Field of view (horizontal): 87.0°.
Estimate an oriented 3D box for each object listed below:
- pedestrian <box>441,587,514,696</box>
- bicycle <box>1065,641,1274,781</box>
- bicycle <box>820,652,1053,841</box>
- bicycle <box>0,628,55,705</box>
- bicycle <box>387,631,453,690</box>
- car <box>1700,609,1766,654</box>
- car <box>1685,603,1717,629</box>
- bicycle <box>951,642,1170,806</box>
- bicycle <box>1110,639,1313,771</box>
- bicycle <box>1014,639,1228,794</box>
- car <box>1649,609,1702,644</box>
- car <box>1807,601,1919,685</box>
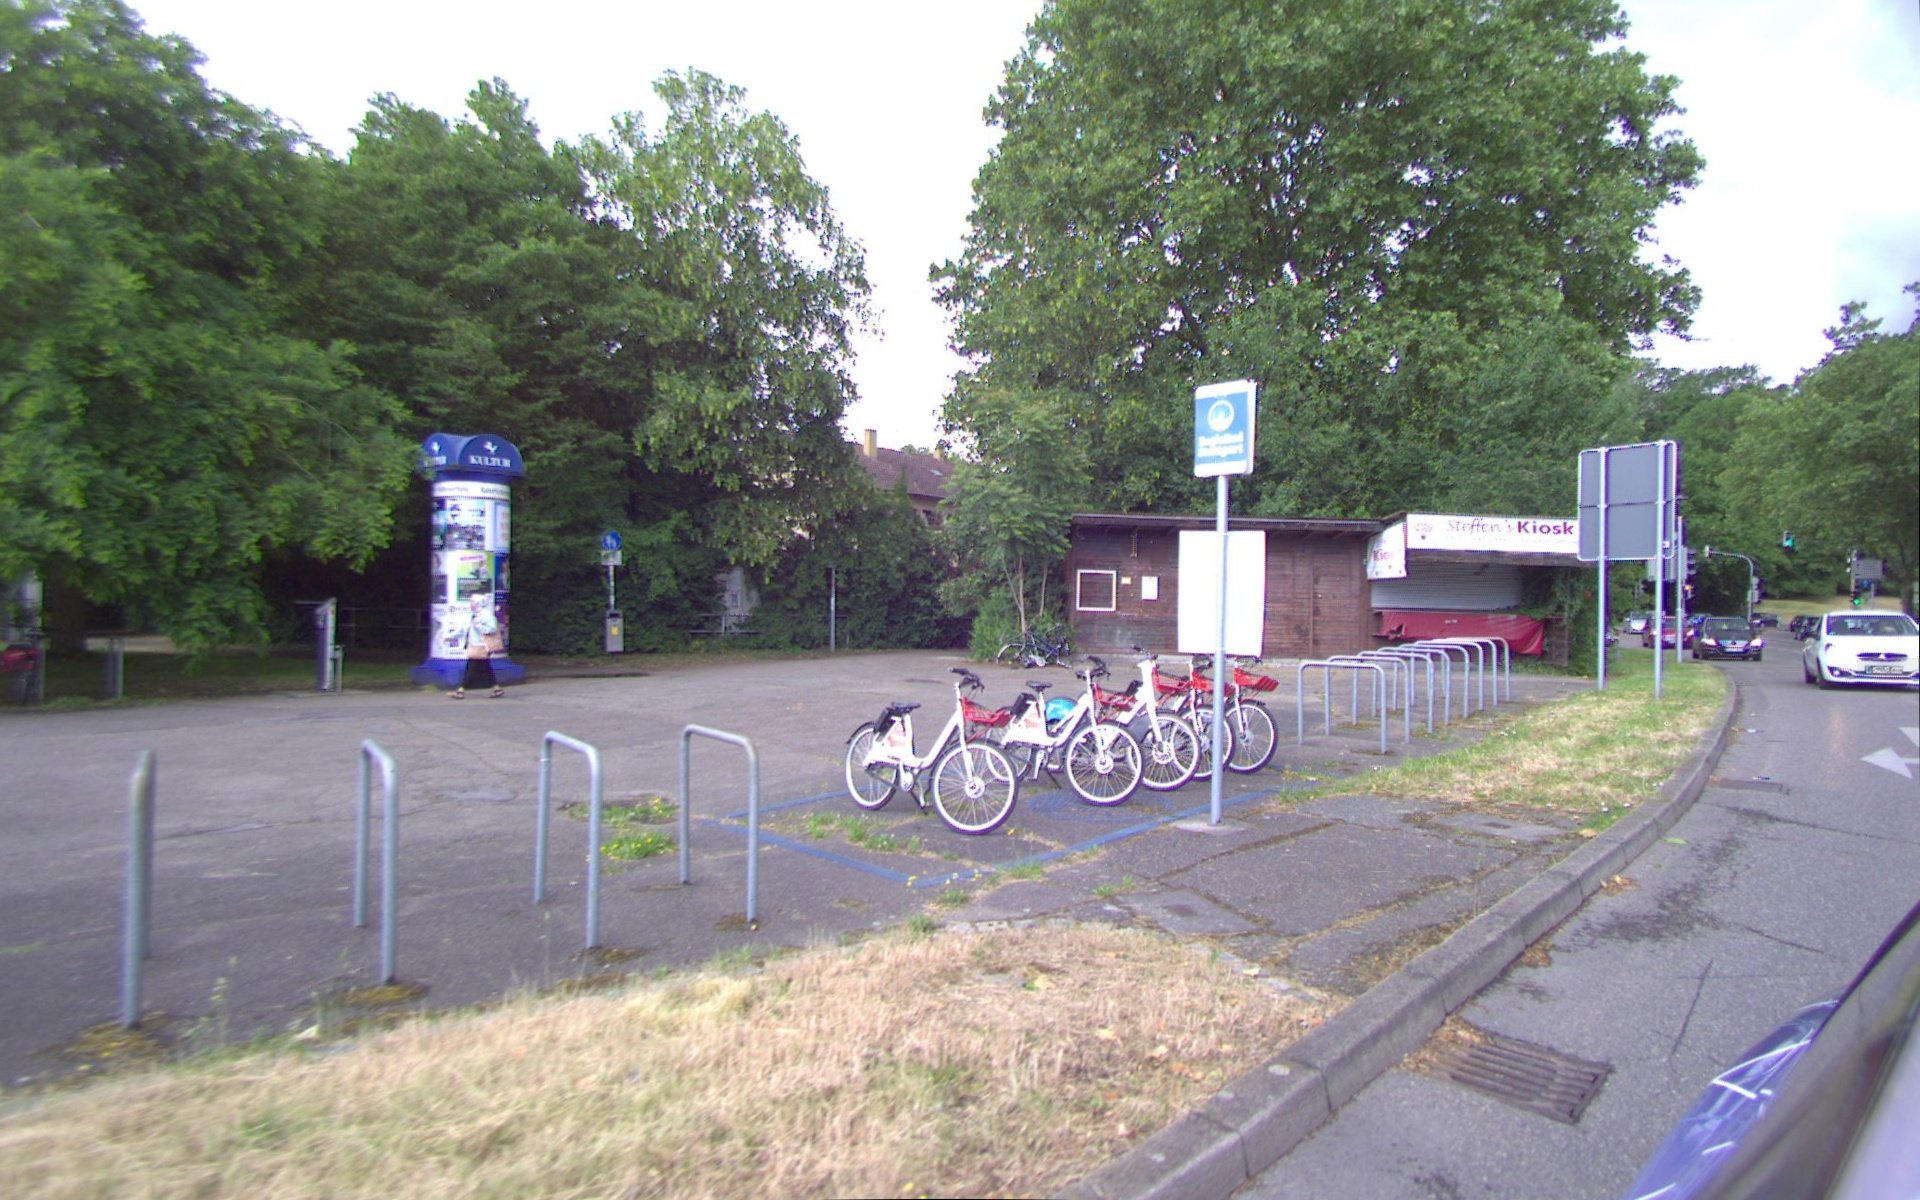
[{"bbox_3d":[-7.064,0.588,14.815,0.668,1.533,0.744,0,-1,40],"label":"pedestrian"},{"bbox_3d":[1.857,0.950,9.220,0.588,1.065,1.880,0,0,-42],"label":"bicycle"},{"bbox_3d":[-0.217,0.998,7.423,1.807,1.130,0.573,0,1,43],"label":"bicycle"},{"bbox_3d":[-11.915,0.816,12.879,0.470,0.867,1.734,3,-1,-45],"label":"bicycle"},{"bbox_3d":[-8.774,0.961,16.417,0.470,0.867,1.653,3,-1,-45],"label":"bicycle"},{"bbox_3d":[28.518,1.133,37.429,1.710,1.551,4.134,0,-1,34],"label":"car"},{"bbox_3d":[50.880,1.082,69.534,1.663,1.637,3.594,0,0,35],"label":"car"},{"bbox_3d":[0.781,0.952,8.305,1.807,1.130,0.573,0,1,43],"label":"bicycle"},{"bbox_3d":[2.352,0.943,9.679,0.588,1.065,1.880,0,0,-42],"label":"bicycle"},{"bbox_3d":[1.347,0.945,8.751,1.807,1.130,0.573,0,1,43],"label":"bicycle"},{"bbox_3d":[36.787,1.304,52.146,1.882,1.637,4.458,0,0,31],"label":"car"},{"bbox_3d":[17.482,0.766,19.285,1.663,1.466,3.560,-2,-2,34],"label":"car"}]
